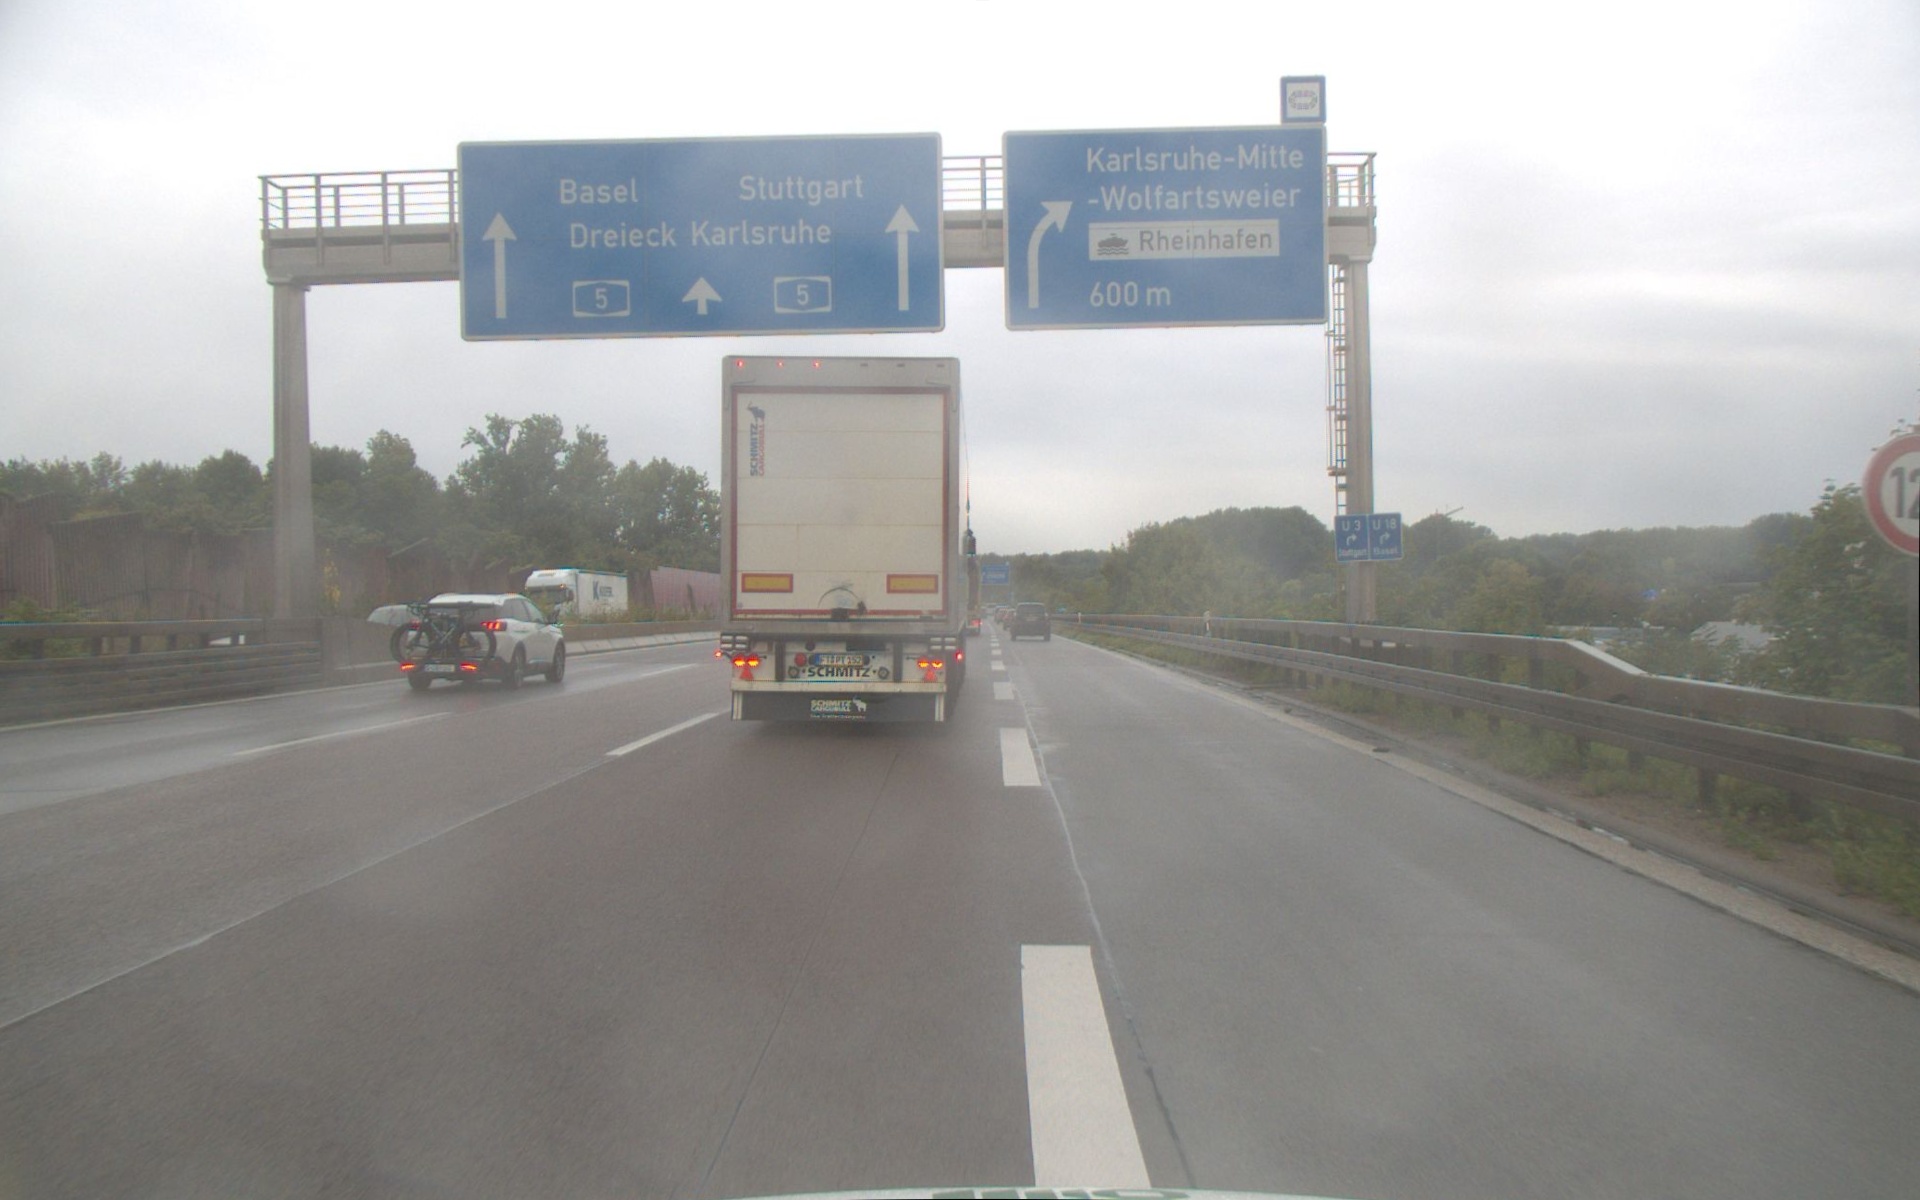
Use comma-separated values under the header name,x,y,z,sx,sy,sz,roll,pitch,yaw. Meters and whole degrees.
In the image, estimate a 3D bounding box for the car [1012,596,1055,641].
name,x,y,z,sx,sy,sz,roll,pitch,yaw
car,3.357,0.835,75.942,1.858,1.983,4.001,1,0,2

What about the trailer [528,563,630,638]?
name,x,y,z,sx,sy,sz,roll,pitch,yaw
trailer,-23.087,0.053,101.160,2.993,4.259,13.570,1,0,0

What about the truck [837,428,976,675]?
name,x,y,z,sx,sy,sz,roll,pitch,yaw
truck,-0.900,-0.884,31.812,2.294,4.230,6.347,1,1,1

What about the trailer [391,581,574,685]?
name,x,y,z,sx,sy,sz,roll,pitch,yaw
trailer,-8.139,0.529,28.640,1.777,1.653,4.568,0,0,1

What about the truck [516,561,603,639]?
name,x,y,z,sx,sy,sz,roll,pitch,yaw
truck,-23.133,0.033,95.896,2.993,4.259,7.887,1,0,0

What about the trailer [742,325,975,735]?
name,x,y,z,sx,sy,sz,roll,pitch,yaw
trailer,-0.990,-0.813,24.670,2.294,4.230,14.829,1,1,1

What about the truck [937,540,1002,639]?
name,x,y,z,sx,sy,sz,roll,pitch,yaw
truck,0.578,-0.555,94.636,3.461,5.274,9.893,1,0,1

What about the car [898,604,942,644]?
name,x,y,z,sx,sy,sz,roll,pitch,yaw
car,-1.811,1.067,76.184,1.855,1.754,4.000,1,0,1
